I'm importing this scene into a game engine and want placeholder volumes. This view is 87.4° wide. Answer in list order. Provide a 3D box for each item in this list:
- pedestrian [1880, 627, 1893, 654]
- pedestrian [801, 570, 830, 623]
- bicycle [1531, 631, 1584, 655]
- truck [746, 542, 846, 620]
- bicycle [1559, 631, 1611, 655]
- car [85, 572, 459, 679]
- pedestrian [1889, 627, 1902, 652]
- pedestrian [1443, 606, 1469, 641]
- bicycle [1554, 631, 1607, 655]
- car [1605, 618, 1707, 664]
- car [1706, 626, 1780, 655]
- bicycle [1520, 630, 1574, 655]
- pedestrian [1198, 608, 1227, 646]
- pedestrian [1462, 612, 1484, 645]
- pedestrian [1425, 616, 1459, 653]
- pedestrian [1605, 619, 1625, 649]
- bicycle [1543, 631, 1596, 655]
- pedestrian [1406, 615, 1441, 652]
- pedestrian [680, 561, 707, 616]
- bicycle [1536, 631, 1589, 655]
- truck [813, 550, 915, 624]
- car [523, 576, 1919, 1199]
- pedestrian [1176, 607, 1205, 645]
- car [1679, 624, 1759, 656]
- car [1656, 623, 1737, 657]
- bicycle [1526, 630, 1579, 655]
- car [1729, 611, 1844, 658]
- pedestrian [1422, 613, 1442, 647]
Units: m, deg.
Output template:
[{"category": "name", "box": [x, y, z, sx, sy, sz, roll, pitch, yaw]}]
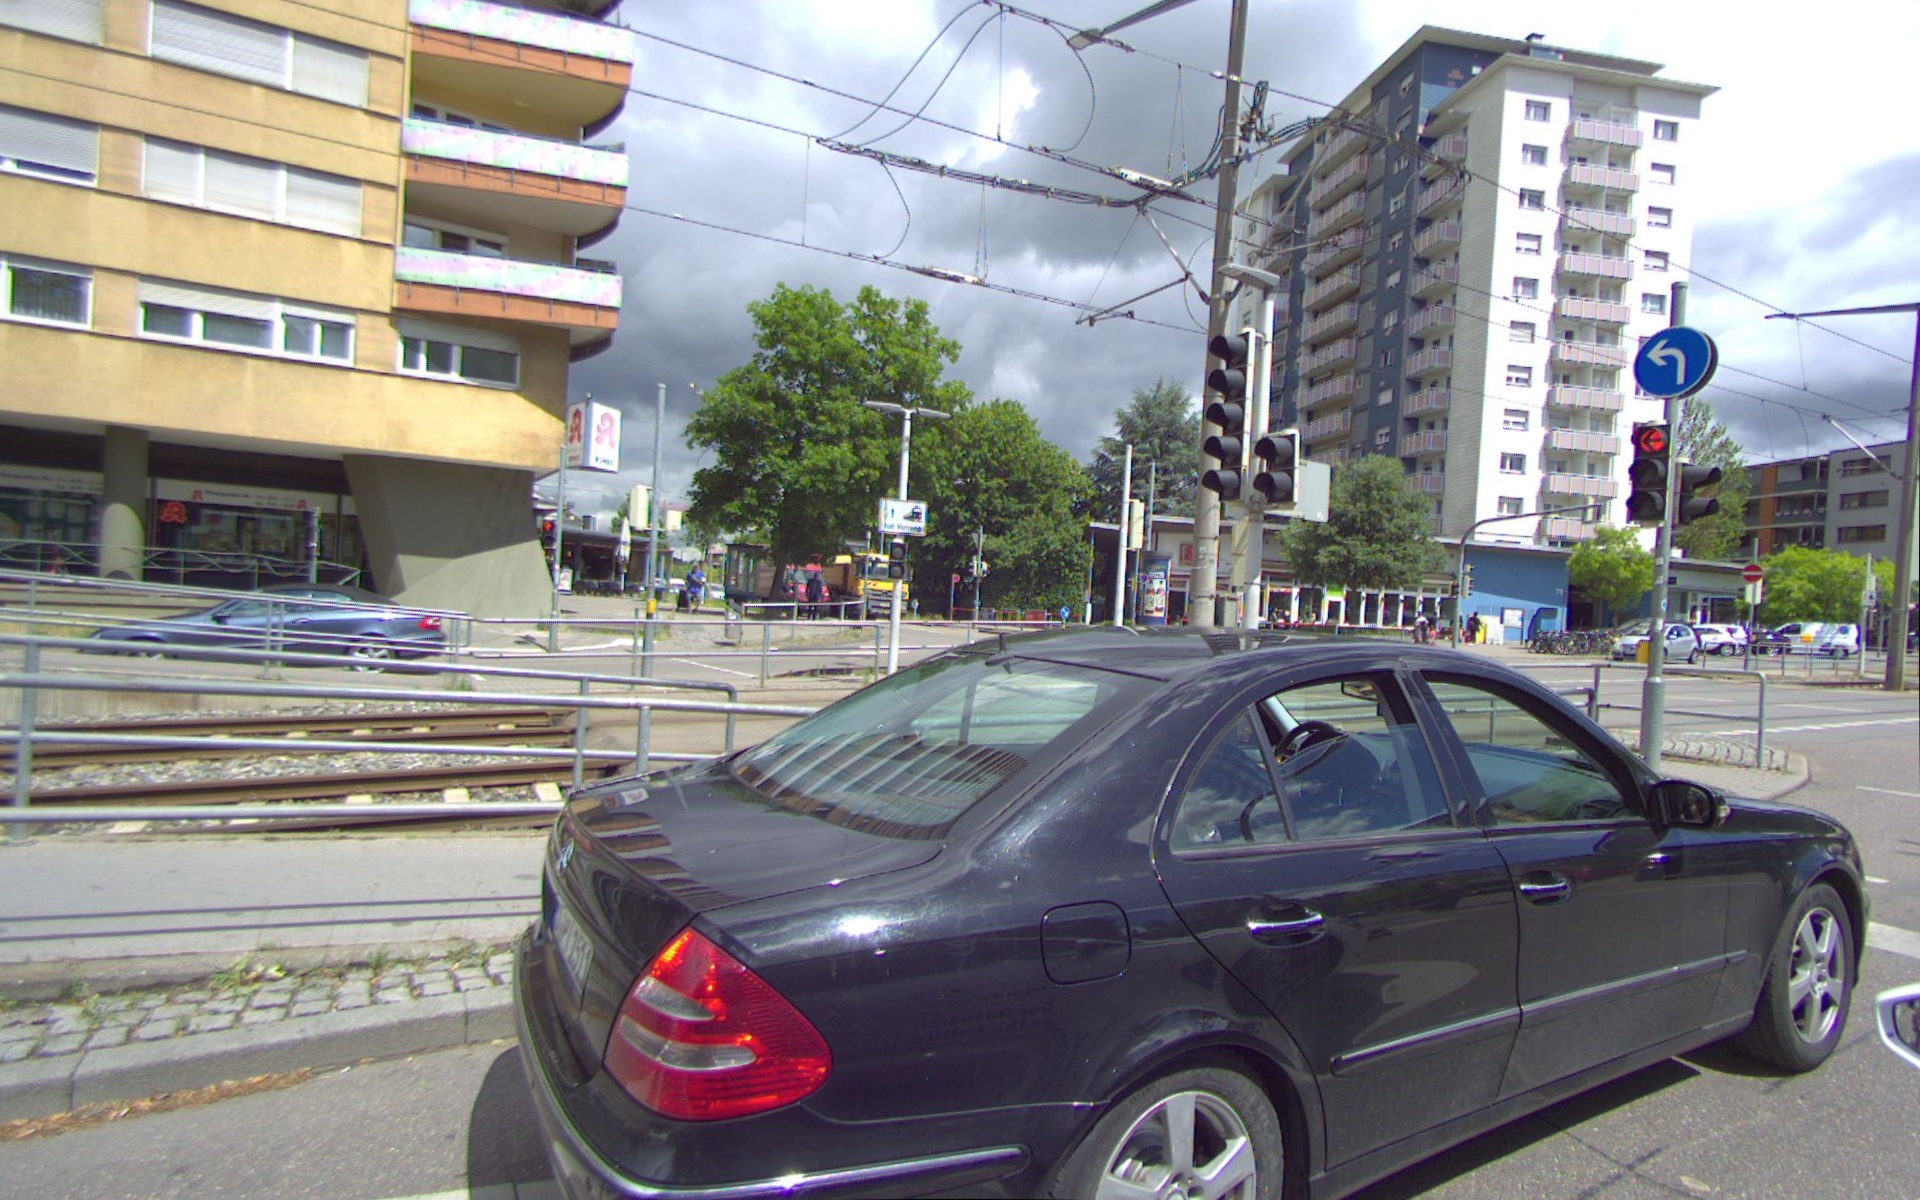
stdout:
[{"category": "pedestrian", "box": [61.204, 2.687, 66.344, 0.663, 1.739, 0.542, 1, 1, -40]}, {"category": "pedestrian", "box": [-4.793, -0.115, 33.282, 0.752, 1.636, 0.779, 7, 1, -9]}, {"category": "bicycle", "box": [25.860, 1.838, 43.504, 0.490, 0.947, 1.933, 2, 0, -35]}, {"category": "truck", "box": [-8.046, -0.848, 48.200, 2.692, 3.320, 8.876, 2, 0, -22]}, {"category": "bicycle", "box": [27.653, 1.899, 44.472, 0.490, 0.947, 1.933, 2, 0, -35]}, {"category": "car", "box": [-10.161, 0.399, 15.247, 4.444, 1.418, 1.626, 2, 0, -32]}, {"category": "pedestrian", "box": [65.823, 2.791, 70.676, 0.401, 1.739, 0.542, 1, 1, -39]}, {"category": "pedestrian", "box": [28.578, 1.363, 57.846, 1.203, 1.942, 0.859, 1, 1, -36]}, {"category": "bicycle", "box": [27.269, 1.886, 44.192, 0.490, 0.947, 1.933, 2, 0, -35]}, {"category": "car", "box": [28.046, 1.651, 40.487, 3.827, 1.715, 1.928, 2, 0, -30]}, {"category": "car", "box": [44.178, 2.281, 56.771, 1.754, 1.439, 4.219, 2, 0, 15]}, {"category": "bicycle", "box": [25.071, 1.810, 42.920, 0.490, 0.947, 1.933, 2, 0, -35]}, {"category": "pedestrian", "box": [11.368, 1.199, 45.169, 0.977, 1.681, 0.969, 2, -1, -4]}, {"category": "pedestrian", "box": [25.984, 1.443, 50.906, 0.693, 1.637, 0.760, 1, 0, -43]}, {"category": "pedestrian", "box": [22.679, 1.637, 47.281, 1.083, 1.681, 0.943, 2, -1, -22]}, {"category": "pedestrian", "box": [36.507, 1.883, 55.982, 0.759, 1.637, 0.694, 2, 0, 44]}, {"category": "bicycle", "box": [26.717, 1.868, 44.043, 0.490, 0.947, 1.933, 2, 0, -35]}, {"category": "pedestrian", "box": [21.580, 1.570, 46.769, 1.083, 1.681, 0.943, 2, -1, -22]}, {"category": "pedestrian", "box": [-8.087, -0.354, 30.474, 0.753, 1.638, 0.776, 0, 4, -19]}, {"category": "bicycle", "box": [26.237, 1.851, 43.790, 0.490, 0.947, 1.933, 2, 0, -35]}, {"category": "truck", "box": [-4.774, -0.595, 48.572, 2.733, 3.244, 7.442, 2, 0, -23]}, {"category": "car", "box": [1.117, 0.752, 3.273, 4.490, 1.481, 1.720, 2, 0, -30]}, {"category": "pedestrian", "box": [10.325, 1.166, 45.069, 0.977, 1.681, 0.969, 2, -1, -4]}, {"category": "car", "box": [41.616, 2.141, 55.159, 1.921, 1.558, 4.220, 2, 0, 13]}, {"category": "car", "box": [38.949, 2.086, 53.226, 1.921, 1.591, 4.220, 2, 0, 13]}, {"category": "bicycle", "box": [25.463, 1.824, 43.195, 0.490, 0.947, 1.933, 2, 0, -35]}, {"category": "car", "box": [48.587, 1.940, 59.301, 2.776, 2.512, 6.724, 2, 0, 17]}, {"category": "pedestrian", "box": [23.592, 1.484, 50.232, 0.757, 1.637, 0.696, 2, 0, 36]}]
